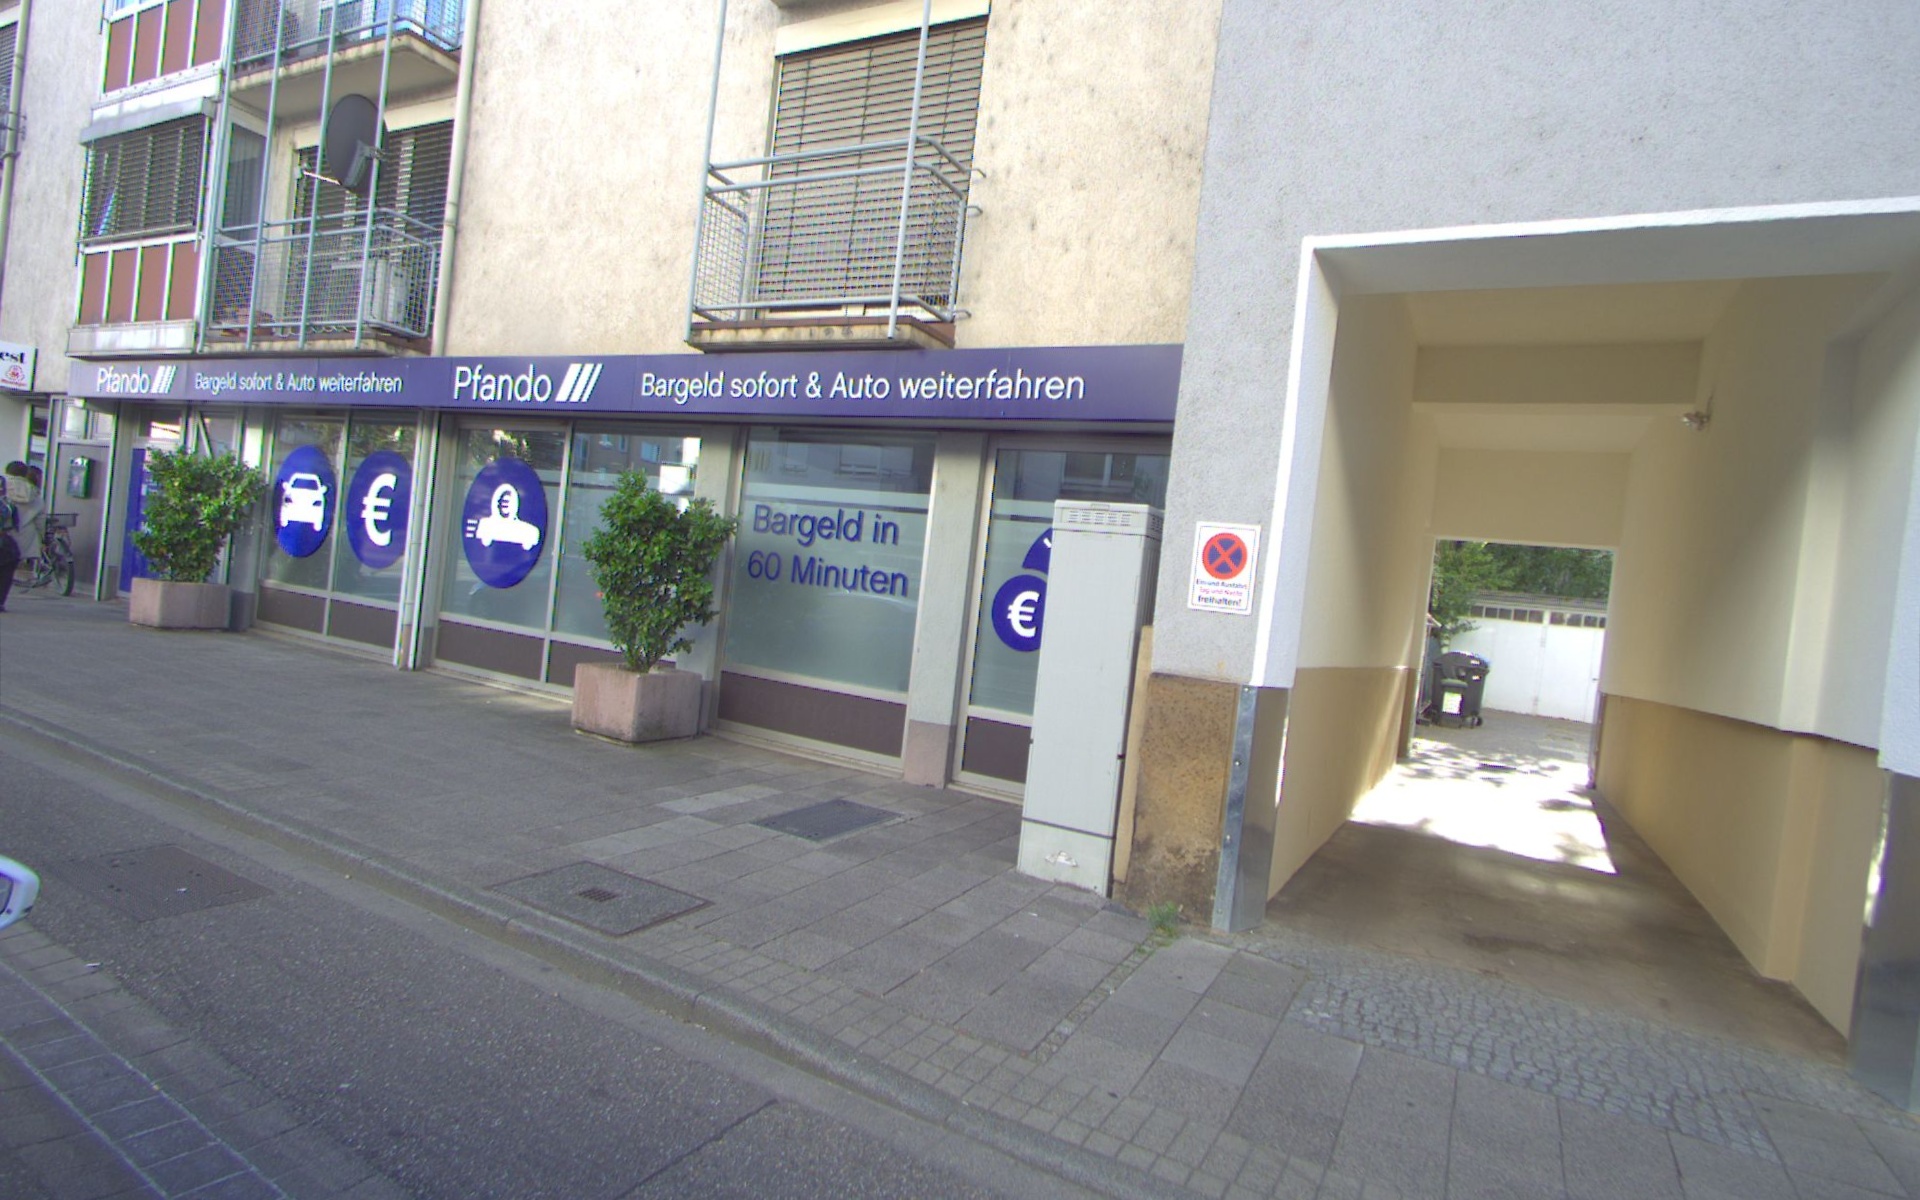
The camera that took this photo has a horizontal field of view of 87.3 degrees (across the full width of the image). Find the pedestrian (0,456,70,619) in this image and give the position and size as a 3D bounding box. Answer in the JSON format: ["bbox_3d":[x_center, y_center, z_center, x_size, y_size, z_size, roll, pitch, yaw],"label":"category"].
[{"bbox_3d":[-10.050,-0.672,10.485,0.738,1.611,0.827,6,-1,31],"label":"pedestrian"}]

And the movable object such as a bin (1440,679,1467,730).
[{"bbox_3d":[9.537,2.010,19.436,0.365,0.920,0.420,7,2,28],"label":"movable object such as a bin"}]

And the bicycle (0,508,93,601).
[{"bbox_3d":[-11.657,-0.589,12.678,1.678,1.010,0.543,6,-1,32],"label":"bicycle"}]

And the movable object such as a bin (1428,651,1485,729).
[{"bbox_3d":[9.941,1.784,20.129,0.873,1.411,0.758,7,2,28],"label":"movable object such as a bin"}]
